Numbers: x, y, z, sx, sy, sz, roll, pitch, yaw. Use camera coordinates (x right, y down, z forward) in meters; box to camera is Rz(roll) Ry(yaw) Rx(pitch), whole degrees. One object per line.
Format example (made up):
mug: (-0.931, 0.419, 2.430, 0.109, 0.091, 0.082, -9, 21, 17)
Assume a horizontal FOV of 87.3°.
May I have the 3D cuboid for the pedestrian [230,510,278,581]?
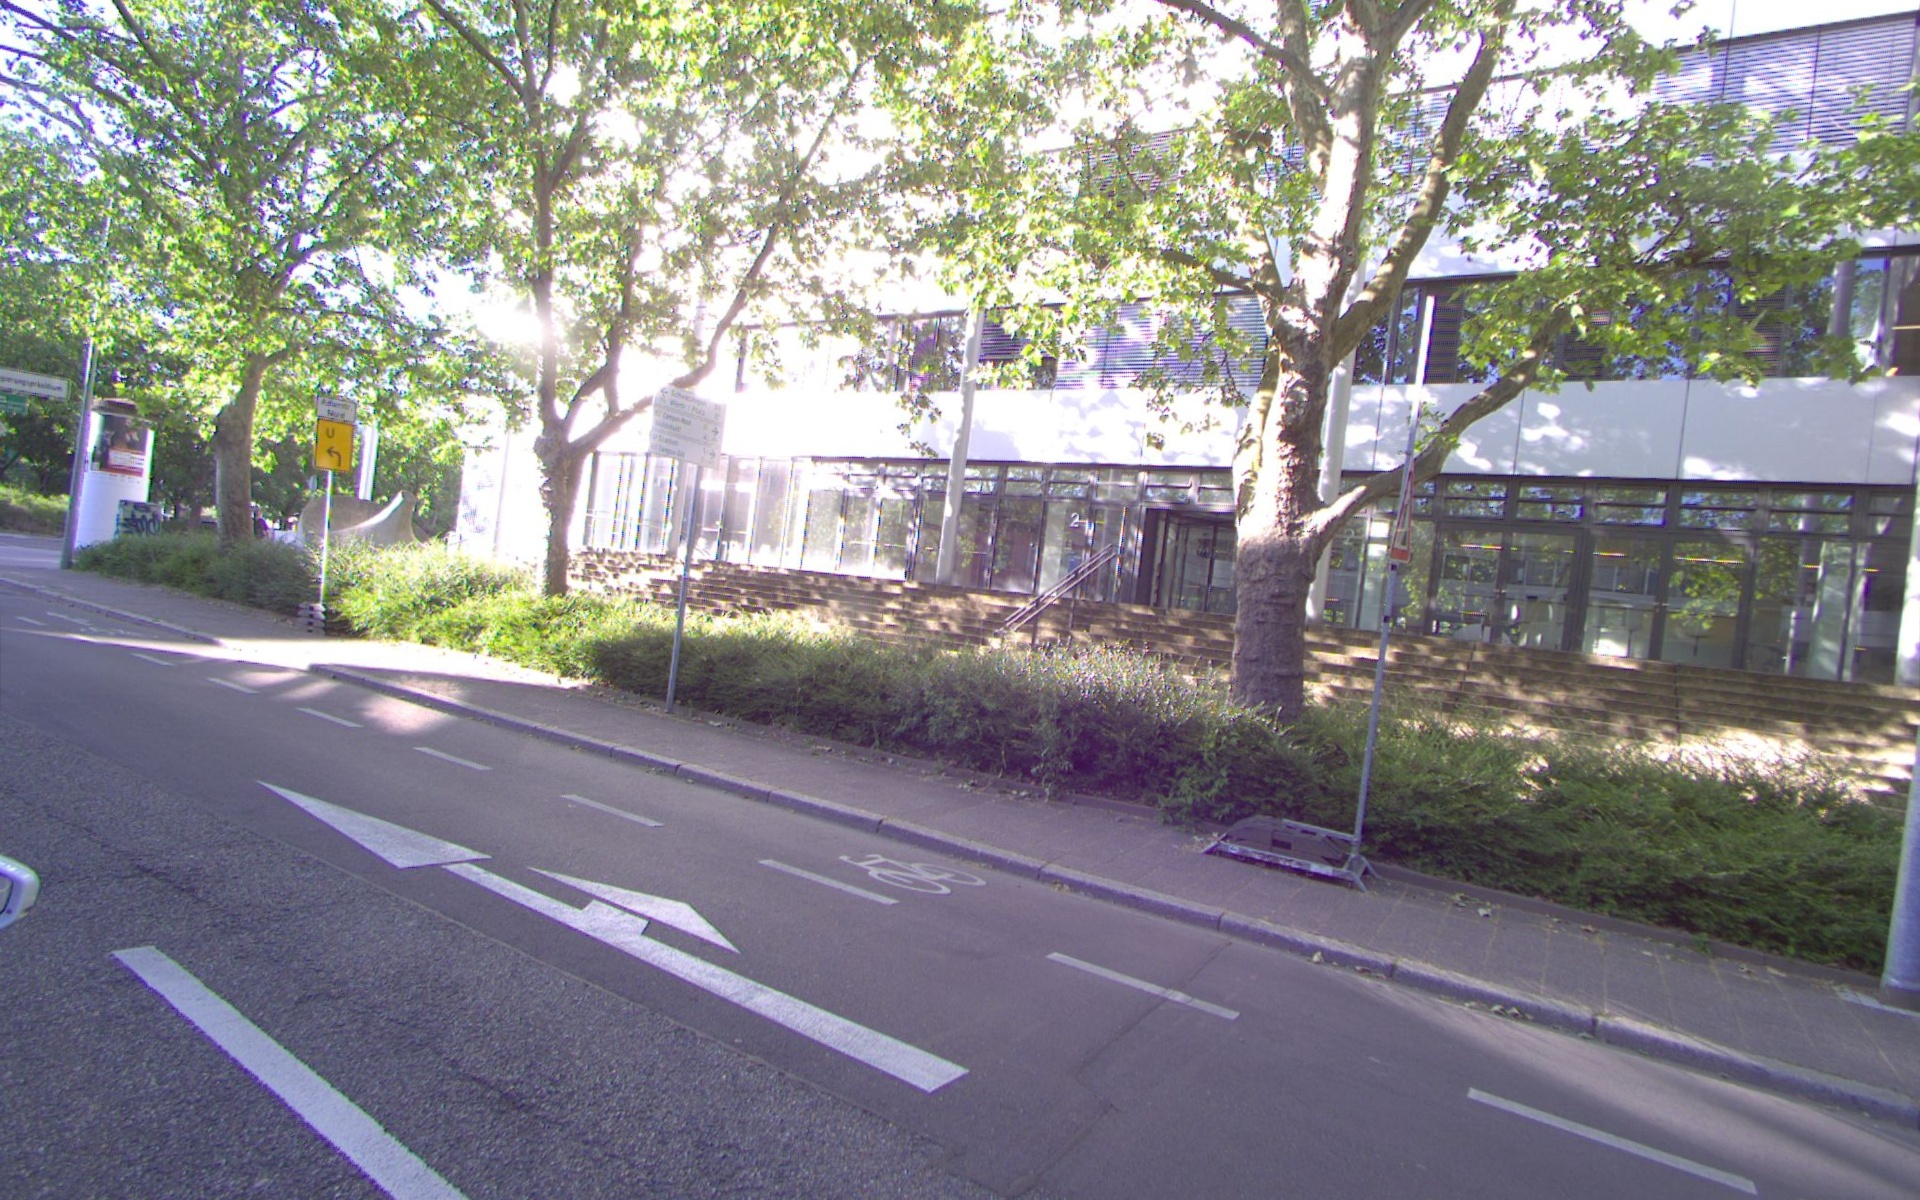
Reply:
pedestrian: (-19.188, -1.468, 27.334, 0.719, 1.799, 0.735, 6, -1, 40)
